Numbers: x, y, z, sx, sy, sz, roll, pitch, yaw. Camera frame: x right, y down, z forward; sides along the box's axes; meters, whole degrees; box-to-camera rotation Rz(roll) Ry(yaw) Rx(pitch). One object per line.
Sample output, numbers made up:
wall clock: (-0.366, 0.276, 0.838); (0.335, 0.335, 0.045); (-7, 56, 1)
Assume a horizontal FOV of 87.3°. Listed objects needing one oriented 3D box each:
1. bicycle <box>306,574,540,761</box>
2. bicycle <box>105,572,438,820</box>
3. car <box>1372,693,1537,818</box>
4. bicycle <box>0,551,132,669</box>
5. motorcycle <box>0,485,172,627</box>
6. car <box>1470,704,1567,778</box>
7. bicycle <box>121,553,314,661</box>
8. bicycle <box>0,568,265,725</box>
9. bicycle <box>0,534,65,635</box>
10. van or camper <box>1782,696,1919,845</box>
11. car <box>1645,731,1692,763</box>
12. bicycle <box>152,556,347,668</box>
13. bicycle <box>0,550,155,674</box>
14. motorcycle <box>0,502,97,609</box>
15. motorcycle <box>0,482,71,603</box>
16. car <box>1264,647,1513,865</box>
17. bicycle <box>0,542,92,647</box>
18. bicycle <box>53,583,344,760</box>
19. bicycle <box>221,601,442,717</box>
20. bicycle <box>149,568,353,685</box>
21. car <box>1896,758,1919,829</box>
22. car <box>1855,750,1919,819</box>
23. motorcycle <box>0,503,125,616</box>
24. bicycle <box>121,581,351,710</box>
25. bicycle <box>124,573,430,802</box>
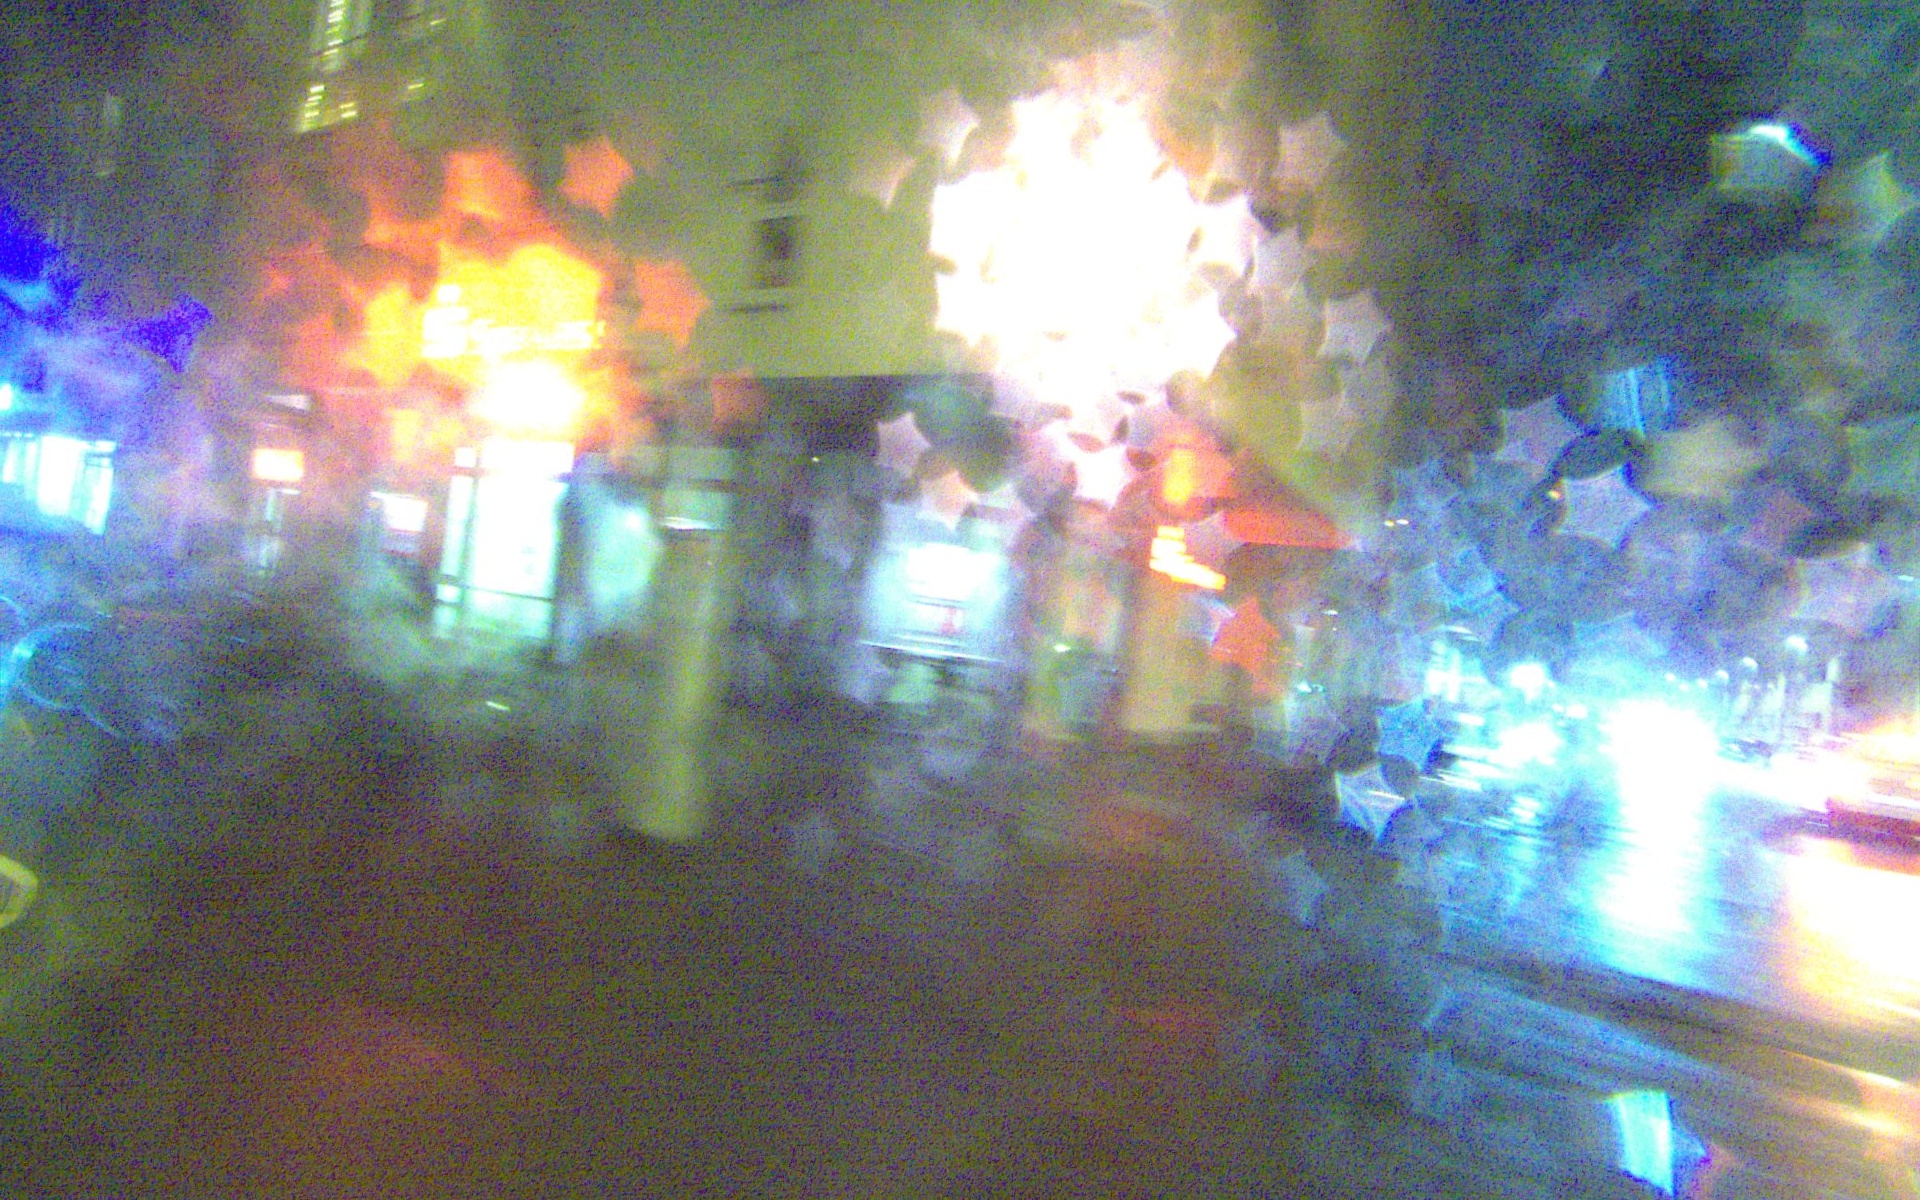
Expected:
bicycle: (-3.882, 0.438, 7.380); (0.360, 1.219, 1.528); (6, 4, 30)
bicycle: (-3.830, 0.476, 5.714); (0.360, 1.219, 1.526); (6, 4, 34)
car: (7.990, 2.425, 16.029); (1.812, 1.449, 4.155); (7, -3, 32)
bicycle: (-8.032, 0.077, 8.541); (0.360, 0.966, 1.529); (6, 4, 28)
motorcycle: (-10.766, -0.515, 11.812); (0.852, 1.568, 2.173); (7, 3, 31)
car: (14.285, 3.574, 25.634); (1.812, 1.449, 4.155); (7, -3, 32)
bicycle: (-7.294, 0.054, 9.959); (0.360, 0.966, 1.529); (6, 4, 28)
bicycle: (-6.094, 0.307, 7.451); (0.360, 1.038, 1.526); (7, 4, 35)
bicycle: (-9.628, -0.162, 9.545); (0.361, 0.966, 1.665); (7, 4, 39)
van or camper: (18.092, 3.412, 19.944); (2.085, 2.424, 5.327); (6, -4, 34)
car: (43.236, 8.977, 61.474); (1.967, 1.552, 3.998); (6, -4, 32)
bicycle: (-6.724, 0.093, 9.597); (0.360, 0.966, 1.529); (6, 4, 27)
bicycle: (-7.649, 0.088, 8.326); (0.360, 0.966, 1.529); (6, 4, 28)
motorcycle: (-12.679, -0.607, 12.965); (0.852, 1.336, 2.173); (7, 3, 31)
motorcycle: (-13.485, -0.829, 13.388); (0.852, 1.609, 2.288); (7, 3, 31)
car: (5.056, 1.702, 11.504); (1.812, 1.789, 4.154); (7, -3, 32)
bicycle: (-9.101, -0.059, 9.355); (0.361, 0.966, 1.524); (7, 4, 39)
bicycle: (-5.027, 0.423, 6.745); (0.360, 1.038, 1.528); (6, 4, 30)
bicycle: (-5.096, 0.440, 8.243); (0.320, 0.845, 1.526); (7, 4, 35)
bicycle: (-6.453, 0.215, 9.237); (0.360, 0.966, 1.529); (6, 4, 28)
car: (22.929, 4.561, 22.645); (1.812, 1.620, 4.154); (7, -3, 32)
car: (25.671, 4.986, 26.861); (1.812, 1.620, 4.154); (7, -3, 32)
motorcycle: (-11.902, -0.527, 12.484); (0.852, 1.336, 2.173); (7, 3, 31)
bicycle: (-6.015, 0.348, 8.430); (0.360, 0.966, 1.526); (7, 4, 35)
bicycle: (-4.090, 0.465, 6.140); (0.360, 1.219, 1.528); (6, 4, 30)
